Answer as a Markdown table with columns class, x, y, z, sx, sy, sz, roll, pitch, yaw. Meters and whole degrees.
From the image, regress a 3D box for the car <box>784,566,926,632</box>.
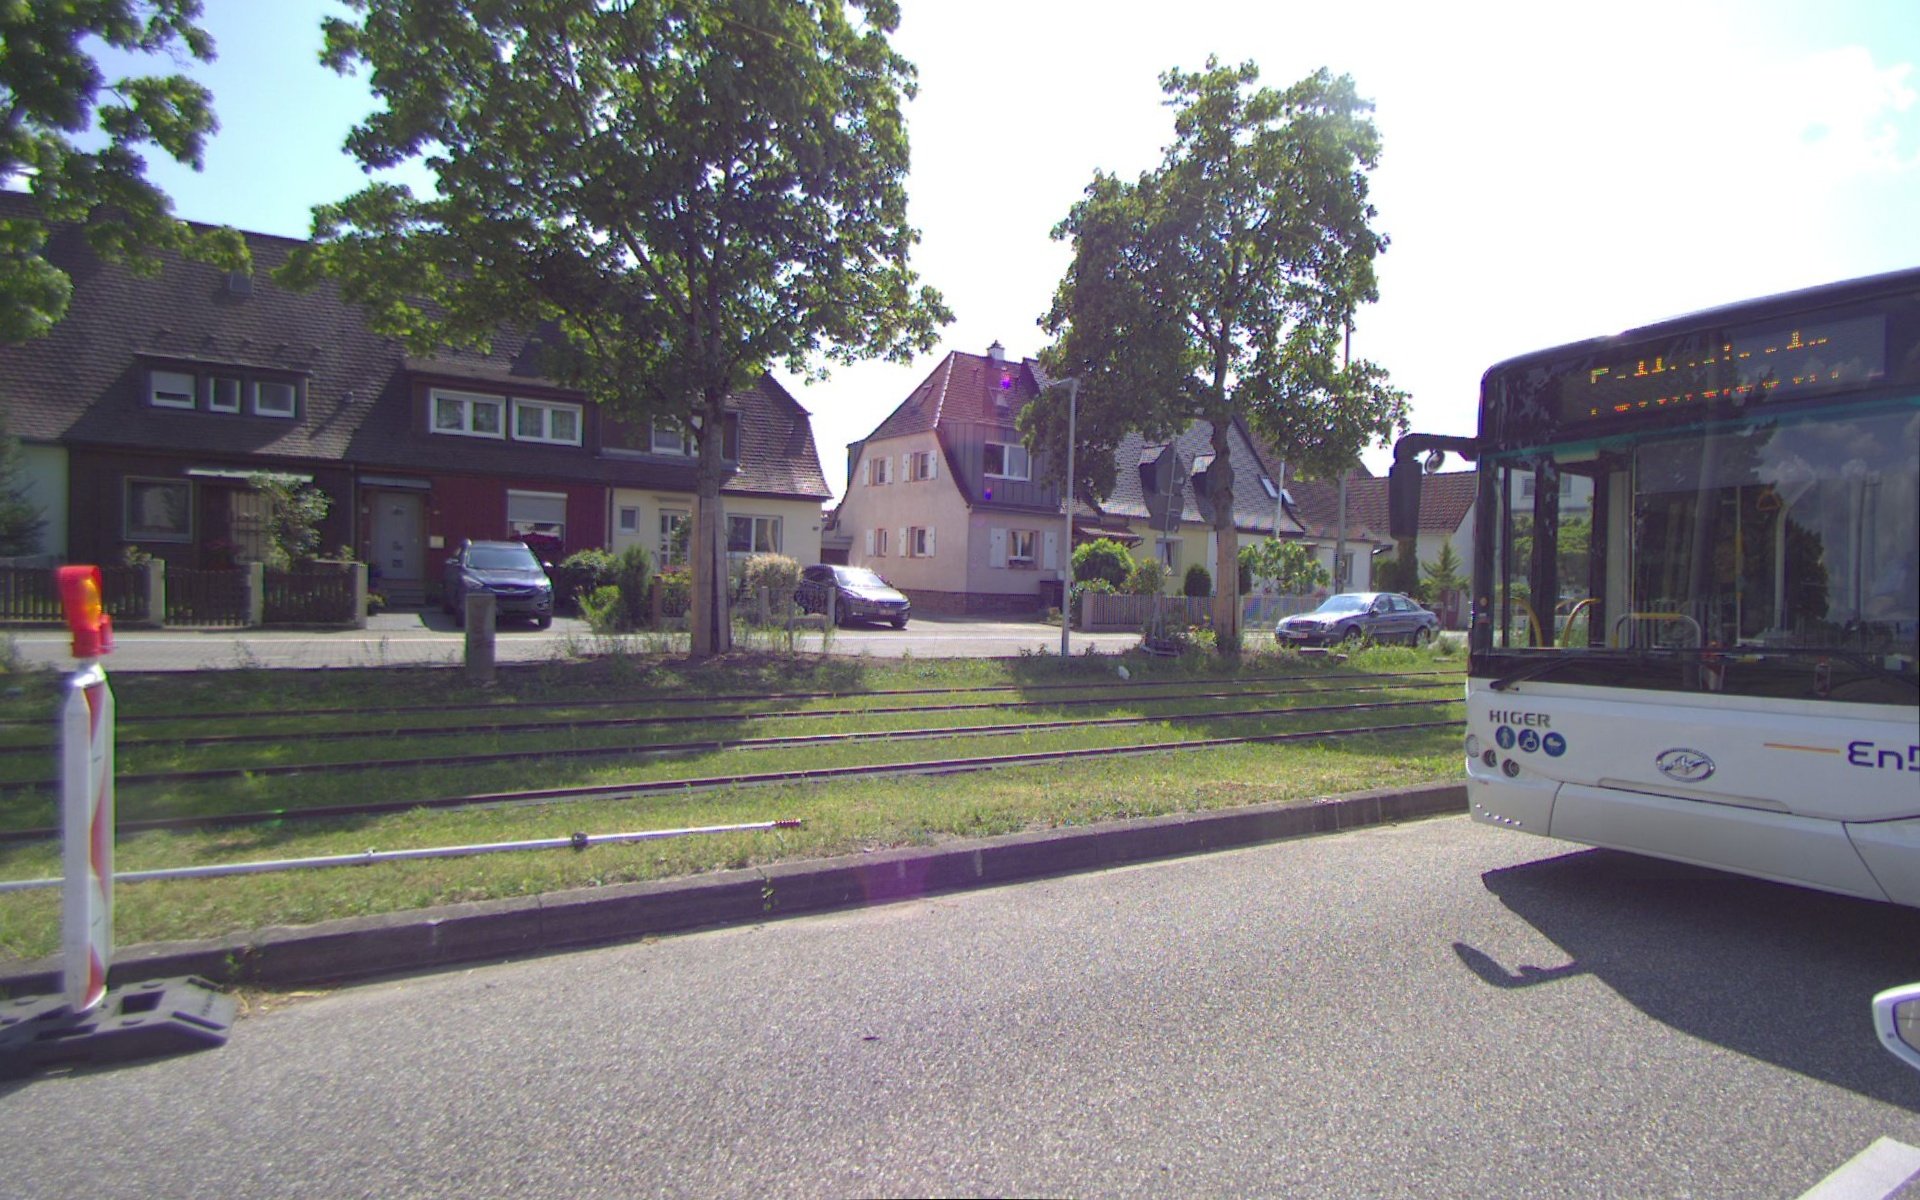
| class | x | y | z | sx | sy | sz | roll | pitch | yaw |
| --- | --- | --- | --- | --- | --- | --- | --- | --- | --- |
| car | -2.852 | -0.069 | 26.425 | 1.905 | 1.544 | 4.444 | 1 | 2 | -33 |

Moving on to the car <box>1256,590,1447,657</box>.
| class | x | y | z | sx | sy | sz | roll | pitch | yaw |
| --- | --- | --- | --- | --- | --- | --- | --- | --- | --- |
| car | 9.379 | 0.545 | 23.942 | 4.762 | 1.425 | 1.808 | 1 | 2 | -34 |

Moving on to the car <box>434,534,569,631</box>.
| class | x | y | z | sx | sy | sz | roll | pitch | yaw |
| --- | --- | --- | --- | --- | --- | --- | --- | --- | --- |
| car | -10.011 | -0.402 | 21.736 | 2.043 | 1.861 | 4.444 | 1 | 2 | -33 |

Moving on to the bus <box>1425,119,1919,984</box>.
| class | x | y | z | sx | sy | sz | roll | pitch | yaw |
| --- | --- | --- | --- | --- | --- | --- | --- | --- | --- |
| bus | 8.497 | -0.117 | 7.989 | 12.115 | 3.458 | 2.621 | 1 | 0 | -33 |

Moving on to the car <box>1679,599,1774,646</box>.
| class | x | y | z | sx | sy | sz | roll | pitch | yaw |
| --- | --- | --- | --- | --- | --- | --- | --- | --- | --- |
| car | 29.256 | 0.843 | 38.300 | 4.524 | 1.659 | 1.683 | 1 | 0 | -37 |
